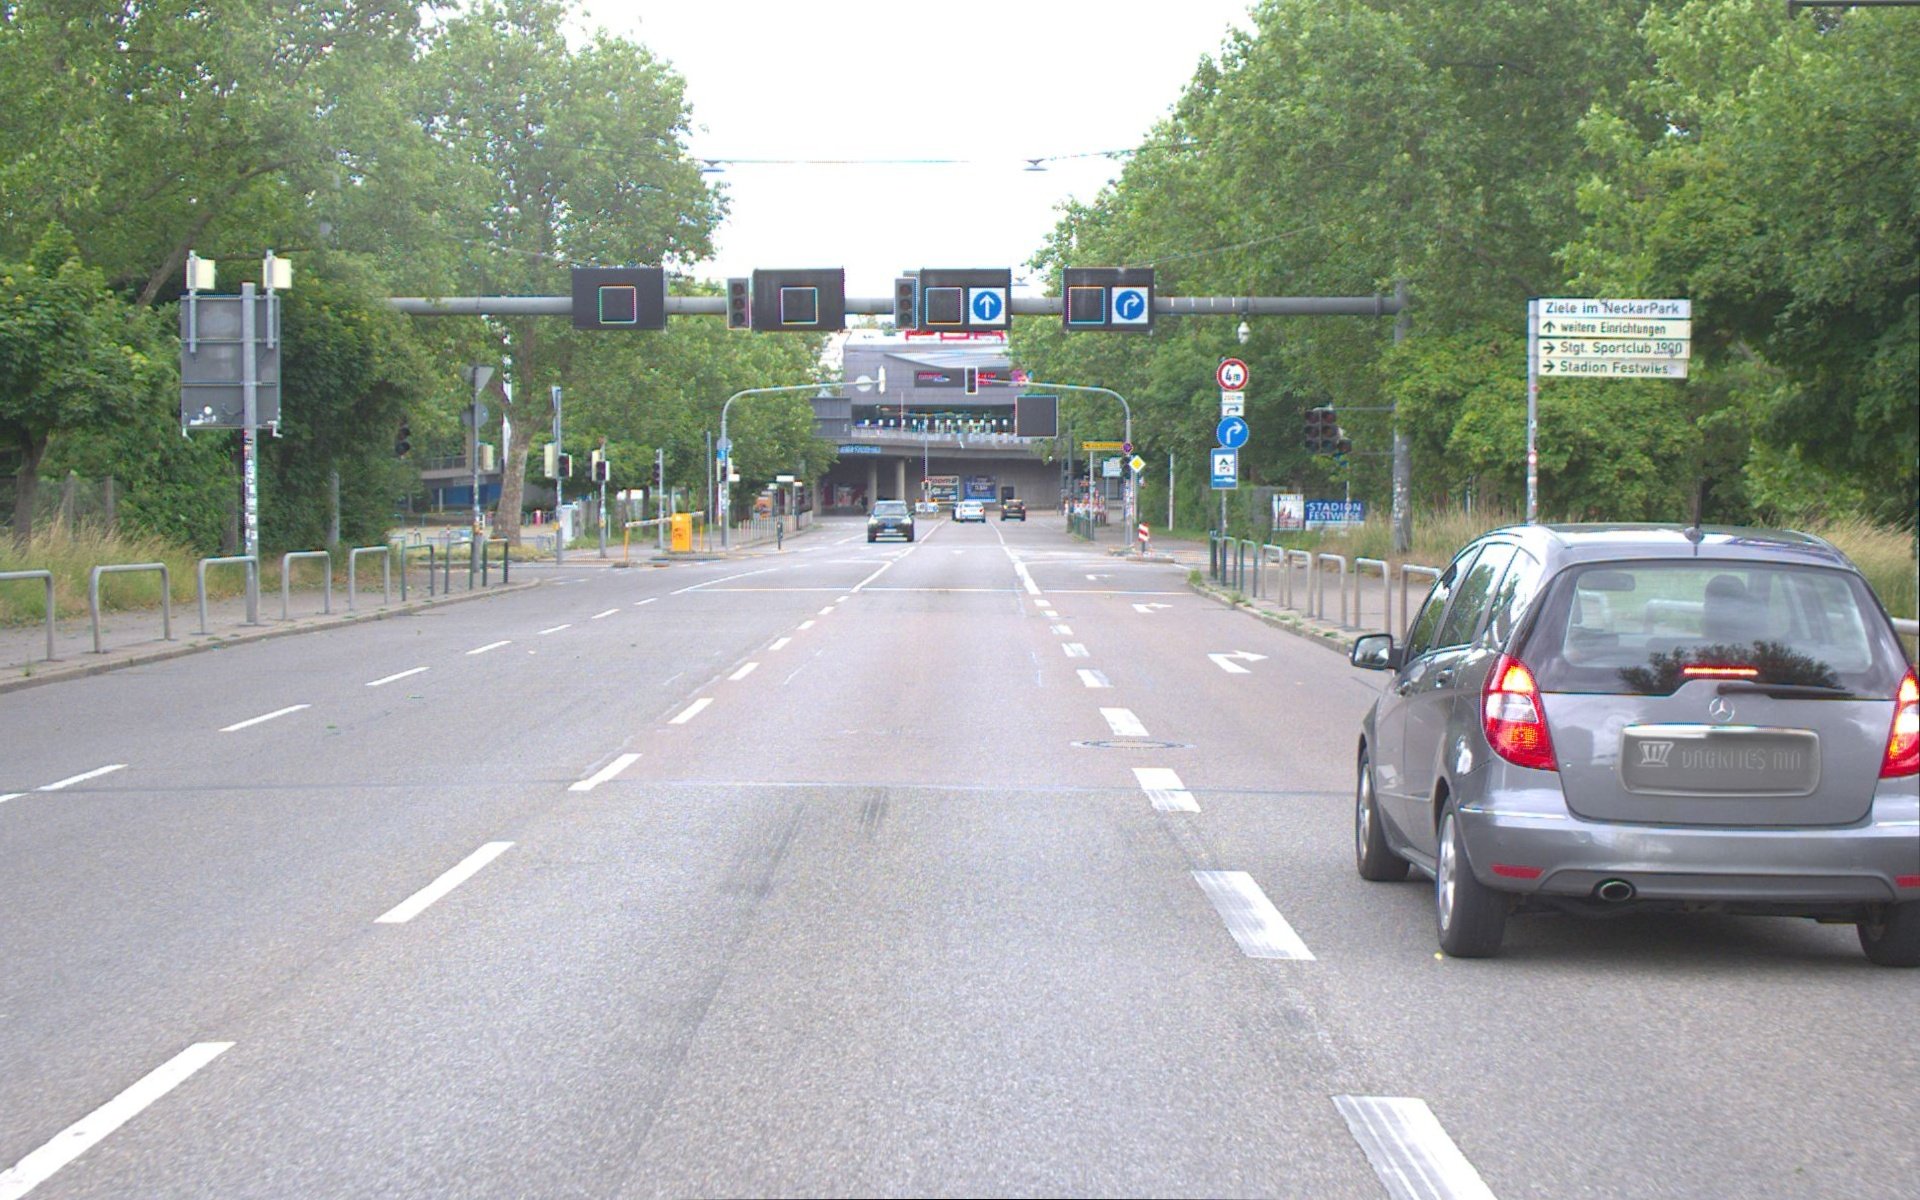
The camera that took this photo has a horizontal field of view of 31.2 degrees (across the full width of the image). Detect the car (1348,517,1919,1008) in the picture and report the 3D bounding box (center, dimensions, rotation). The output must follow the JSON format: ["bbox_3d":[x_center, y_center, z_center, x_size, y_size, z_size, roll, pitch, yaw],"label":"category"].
[{"bbox_3d":[2.602,0.540,13.402,1.826,1.611,4.034,0,0,2],"label":"car"}]

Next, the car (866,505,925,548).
[{"bbox_3d":[-2.595,-2.998,139.518,1.994,1.654,4.517,-1,1,3],"label":"car"}]

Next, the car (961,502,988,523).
[{"bbox_3d":[1.022,-6.230,245.932,1.778,1.455,3.822,2,1,1],"label":"car"}]
